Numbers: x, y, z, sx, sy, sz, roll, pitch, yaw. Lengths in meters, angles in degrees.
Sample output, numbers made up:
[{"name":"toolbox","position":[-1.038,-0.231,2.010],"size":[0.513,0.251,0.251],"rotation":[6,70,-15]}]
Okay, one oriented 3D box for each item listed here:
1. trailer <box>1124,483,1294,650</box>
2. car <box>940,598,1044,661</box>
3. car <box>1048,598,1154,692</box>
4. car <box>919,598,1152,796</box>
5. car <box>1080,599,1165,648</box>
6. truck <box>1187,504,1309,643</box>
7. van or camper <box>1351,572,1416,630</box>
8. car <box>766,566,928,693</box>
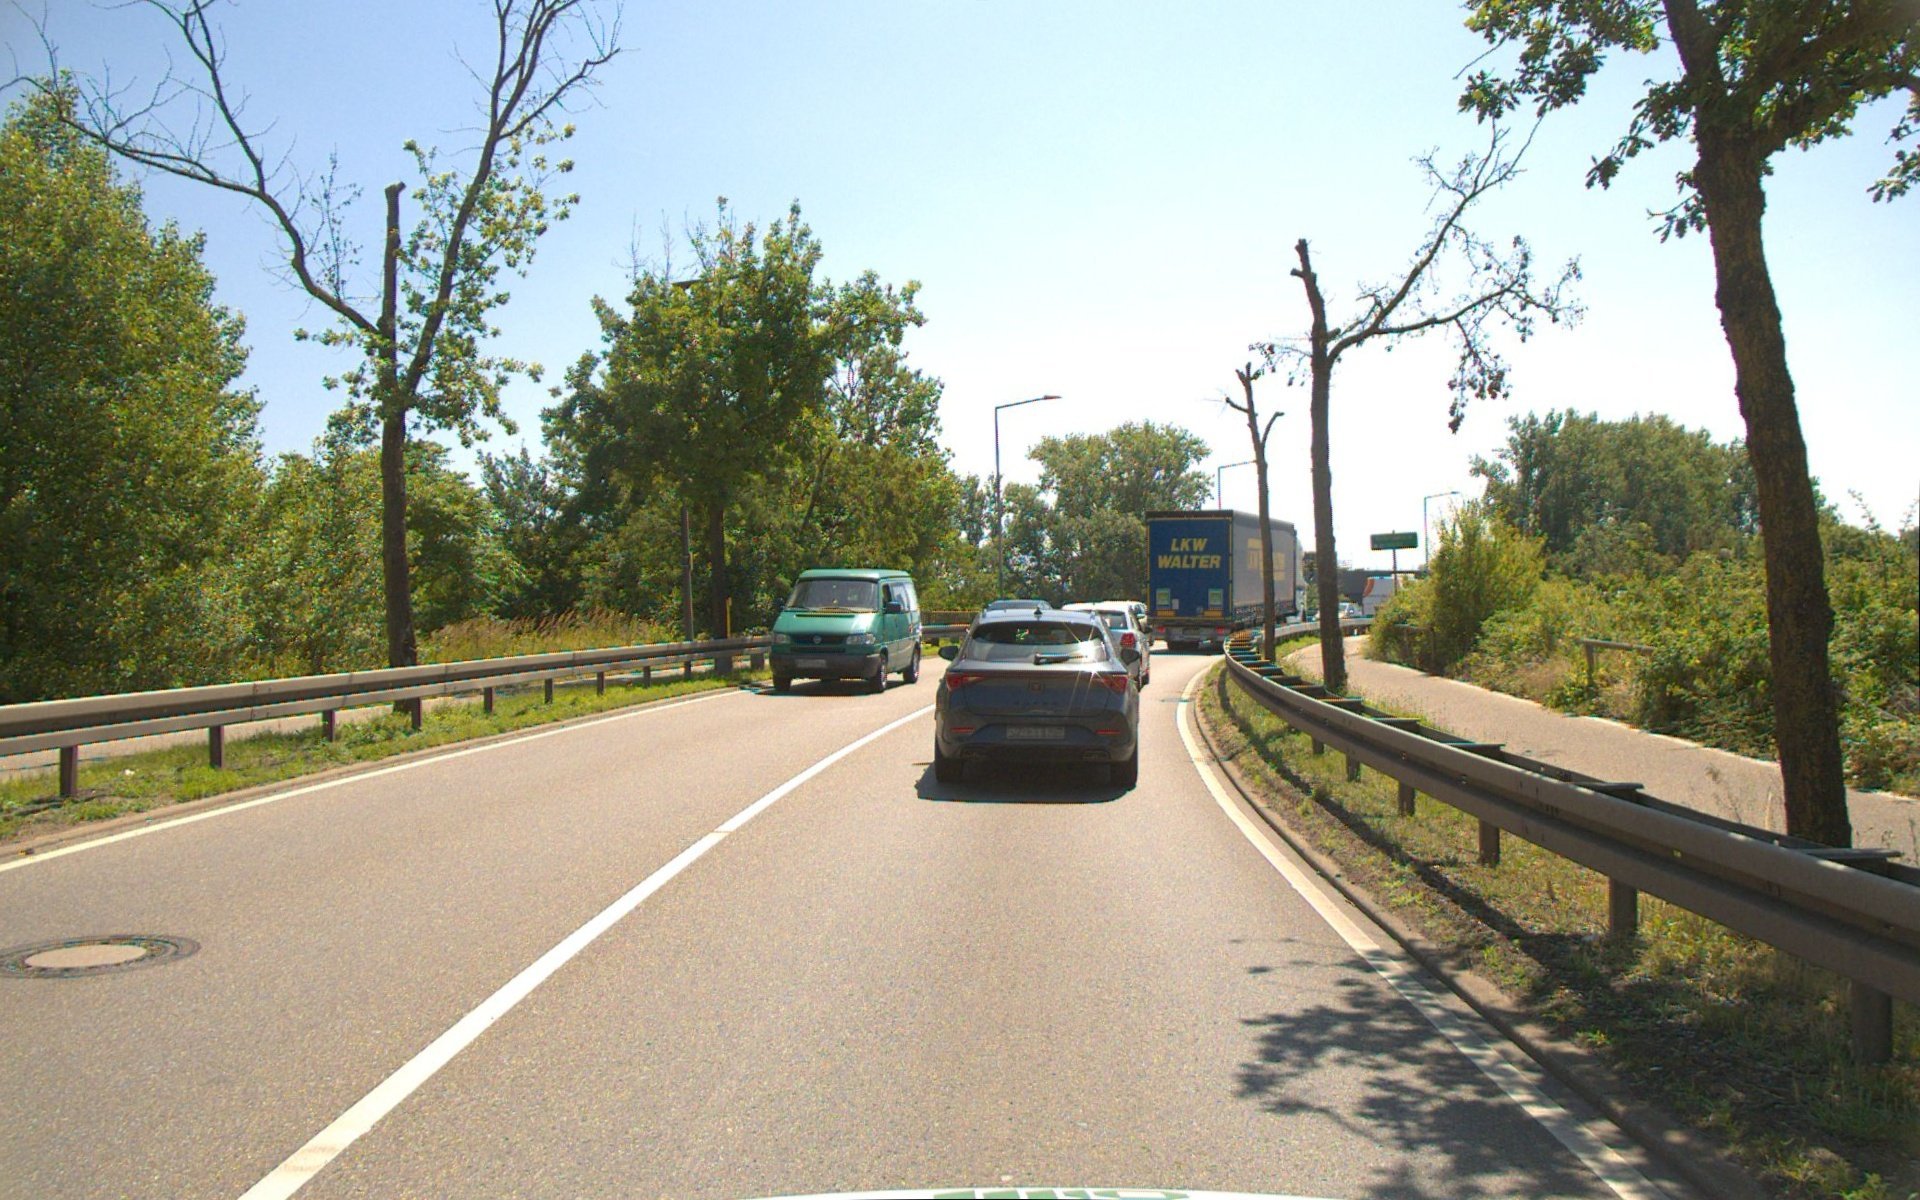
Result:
[{"name":"trailer","position":[8.290,-0.931,53.112],"size":[3.069,4.695,12.952],"rotation":[1,0,19]},{"name":"car","position":[0.885,0.698,41.901],"size":[1.806,1.493,4.745],"rotation":[0,0,11]},{"name":"car","position":[2.491,0.725,28.576],"size":[1.559,1.486,3.548],"rotation":[1,0,9]},{"name":"car","position":[0.707,0.747,14.689],"size":[1.807,1.525,3.760],"rotation":[0,0,4]},{"name":"car","position":[5.299,0.726,53.332],"size":[1.666,1.472,4.460],"rotation":[1,0,20]},{"name":"truck","position":[10.420,-0.858,59.190],"size":[3.104,4.665,7.398],"rotation":[1,-1,19]},{"name":"van or camper","position":[20.847,0.054,81.204],"size":[2.158,2.758,5.923],"rotation":[0,0,23]},{"name":"car","position":[-1.815,0.454,28.121],"size":[1.791,1.972,4.779],"rotation":[0,0,8]}]
